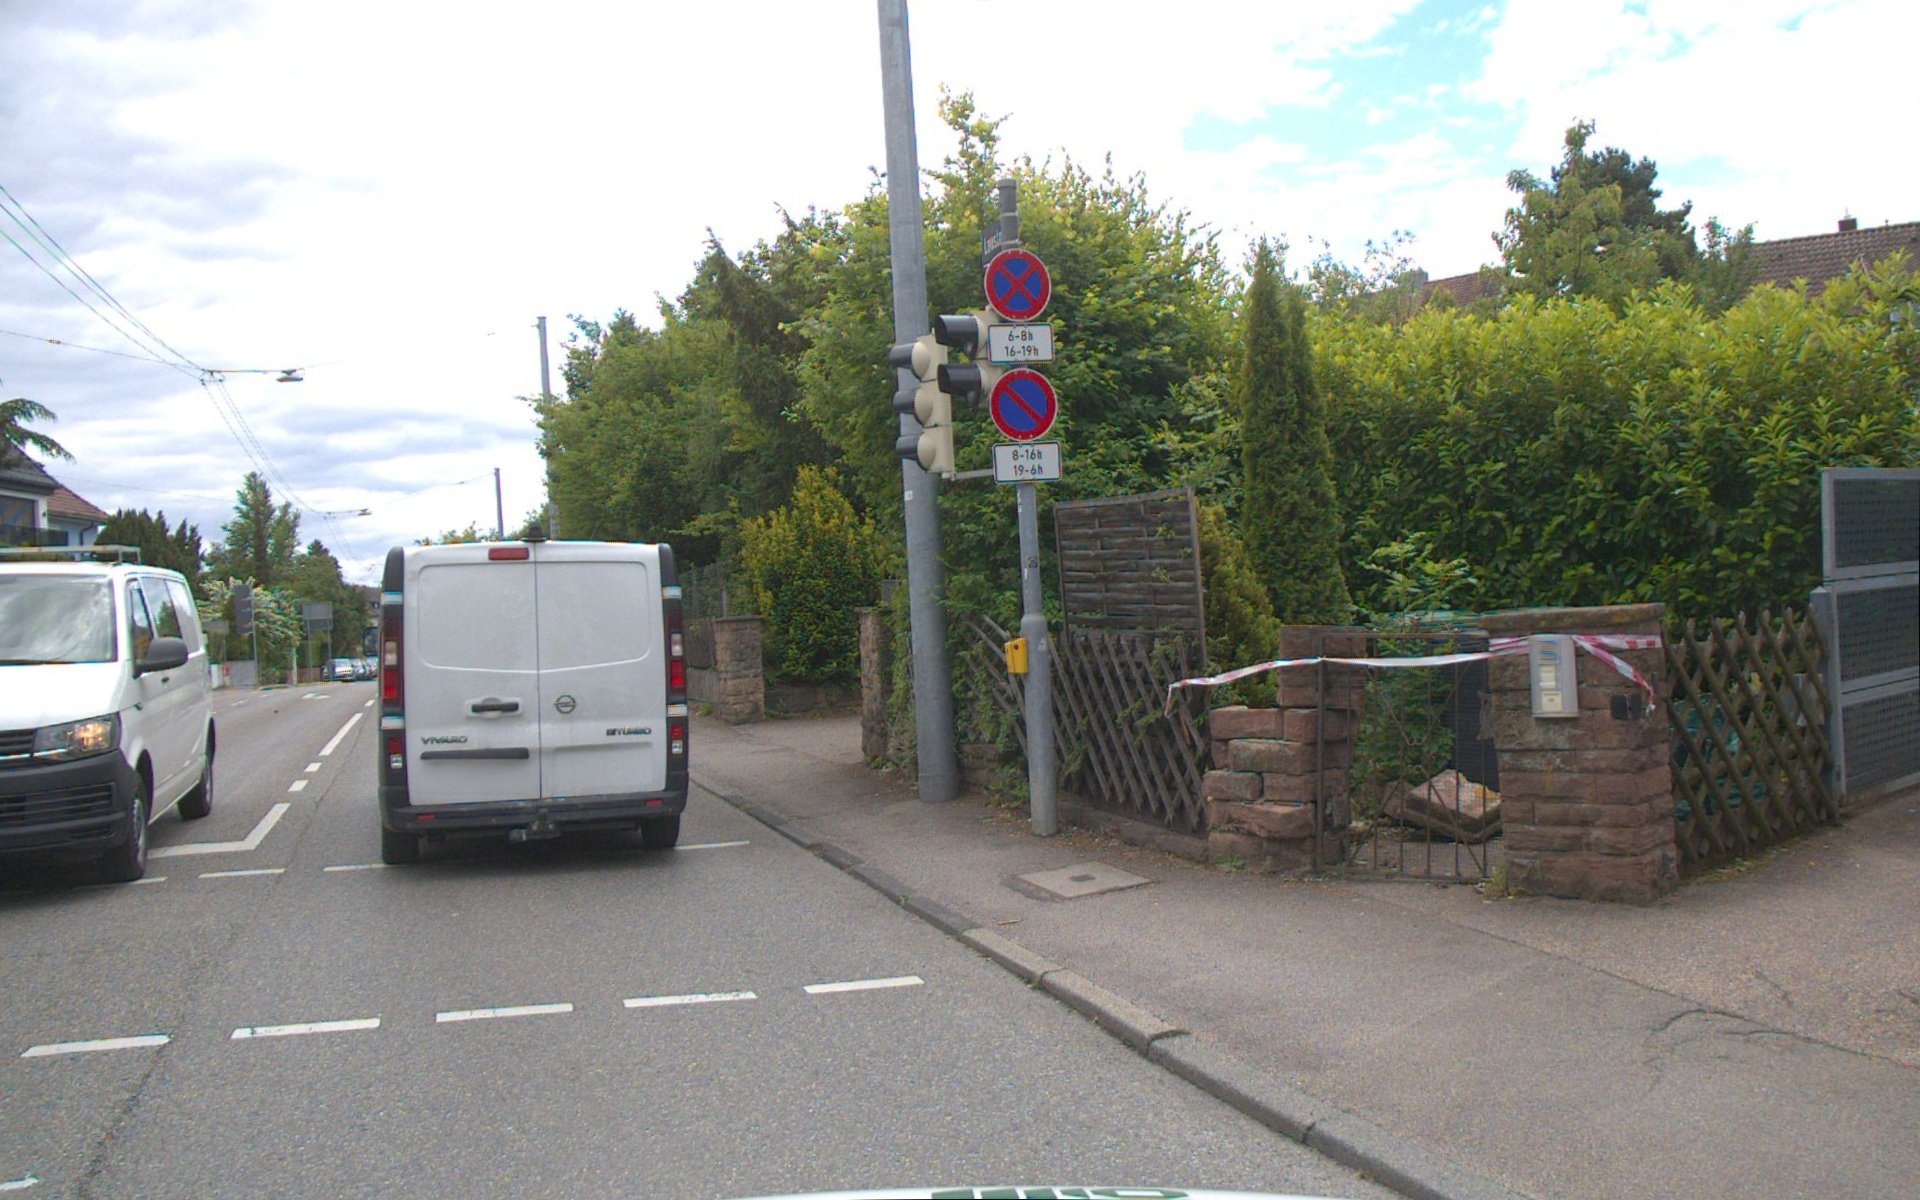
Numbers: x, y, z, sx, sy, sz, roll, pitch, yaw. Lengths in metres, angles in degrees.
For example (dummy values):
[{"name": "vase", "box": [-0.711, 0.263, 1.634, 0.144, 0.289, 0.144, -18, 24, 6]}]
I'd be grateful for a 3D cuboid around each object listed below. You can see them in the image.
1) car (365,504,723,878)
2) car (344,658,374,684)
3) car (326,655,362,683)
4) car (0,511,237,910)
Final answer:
[{"name": "car", "box": [-3.119, 0.536, 11.854, 1.975, 2.073, 4.983, -1, -1, -18]}, {"name": "car", "box": [-41.902, 4.954, 115.352, 1.653, 1.583, 3.951, -5, -1, -18]}, {"name": "car", "box": [-37.685, 4.231, 101.255, 1.783, 1.480, 4.389, -5, 0, -19]}, {"name": "car", "box": [-6.160, 0.650, 11.077, 1.830, 2.083, 5.144, -3, 0, -18]}]
